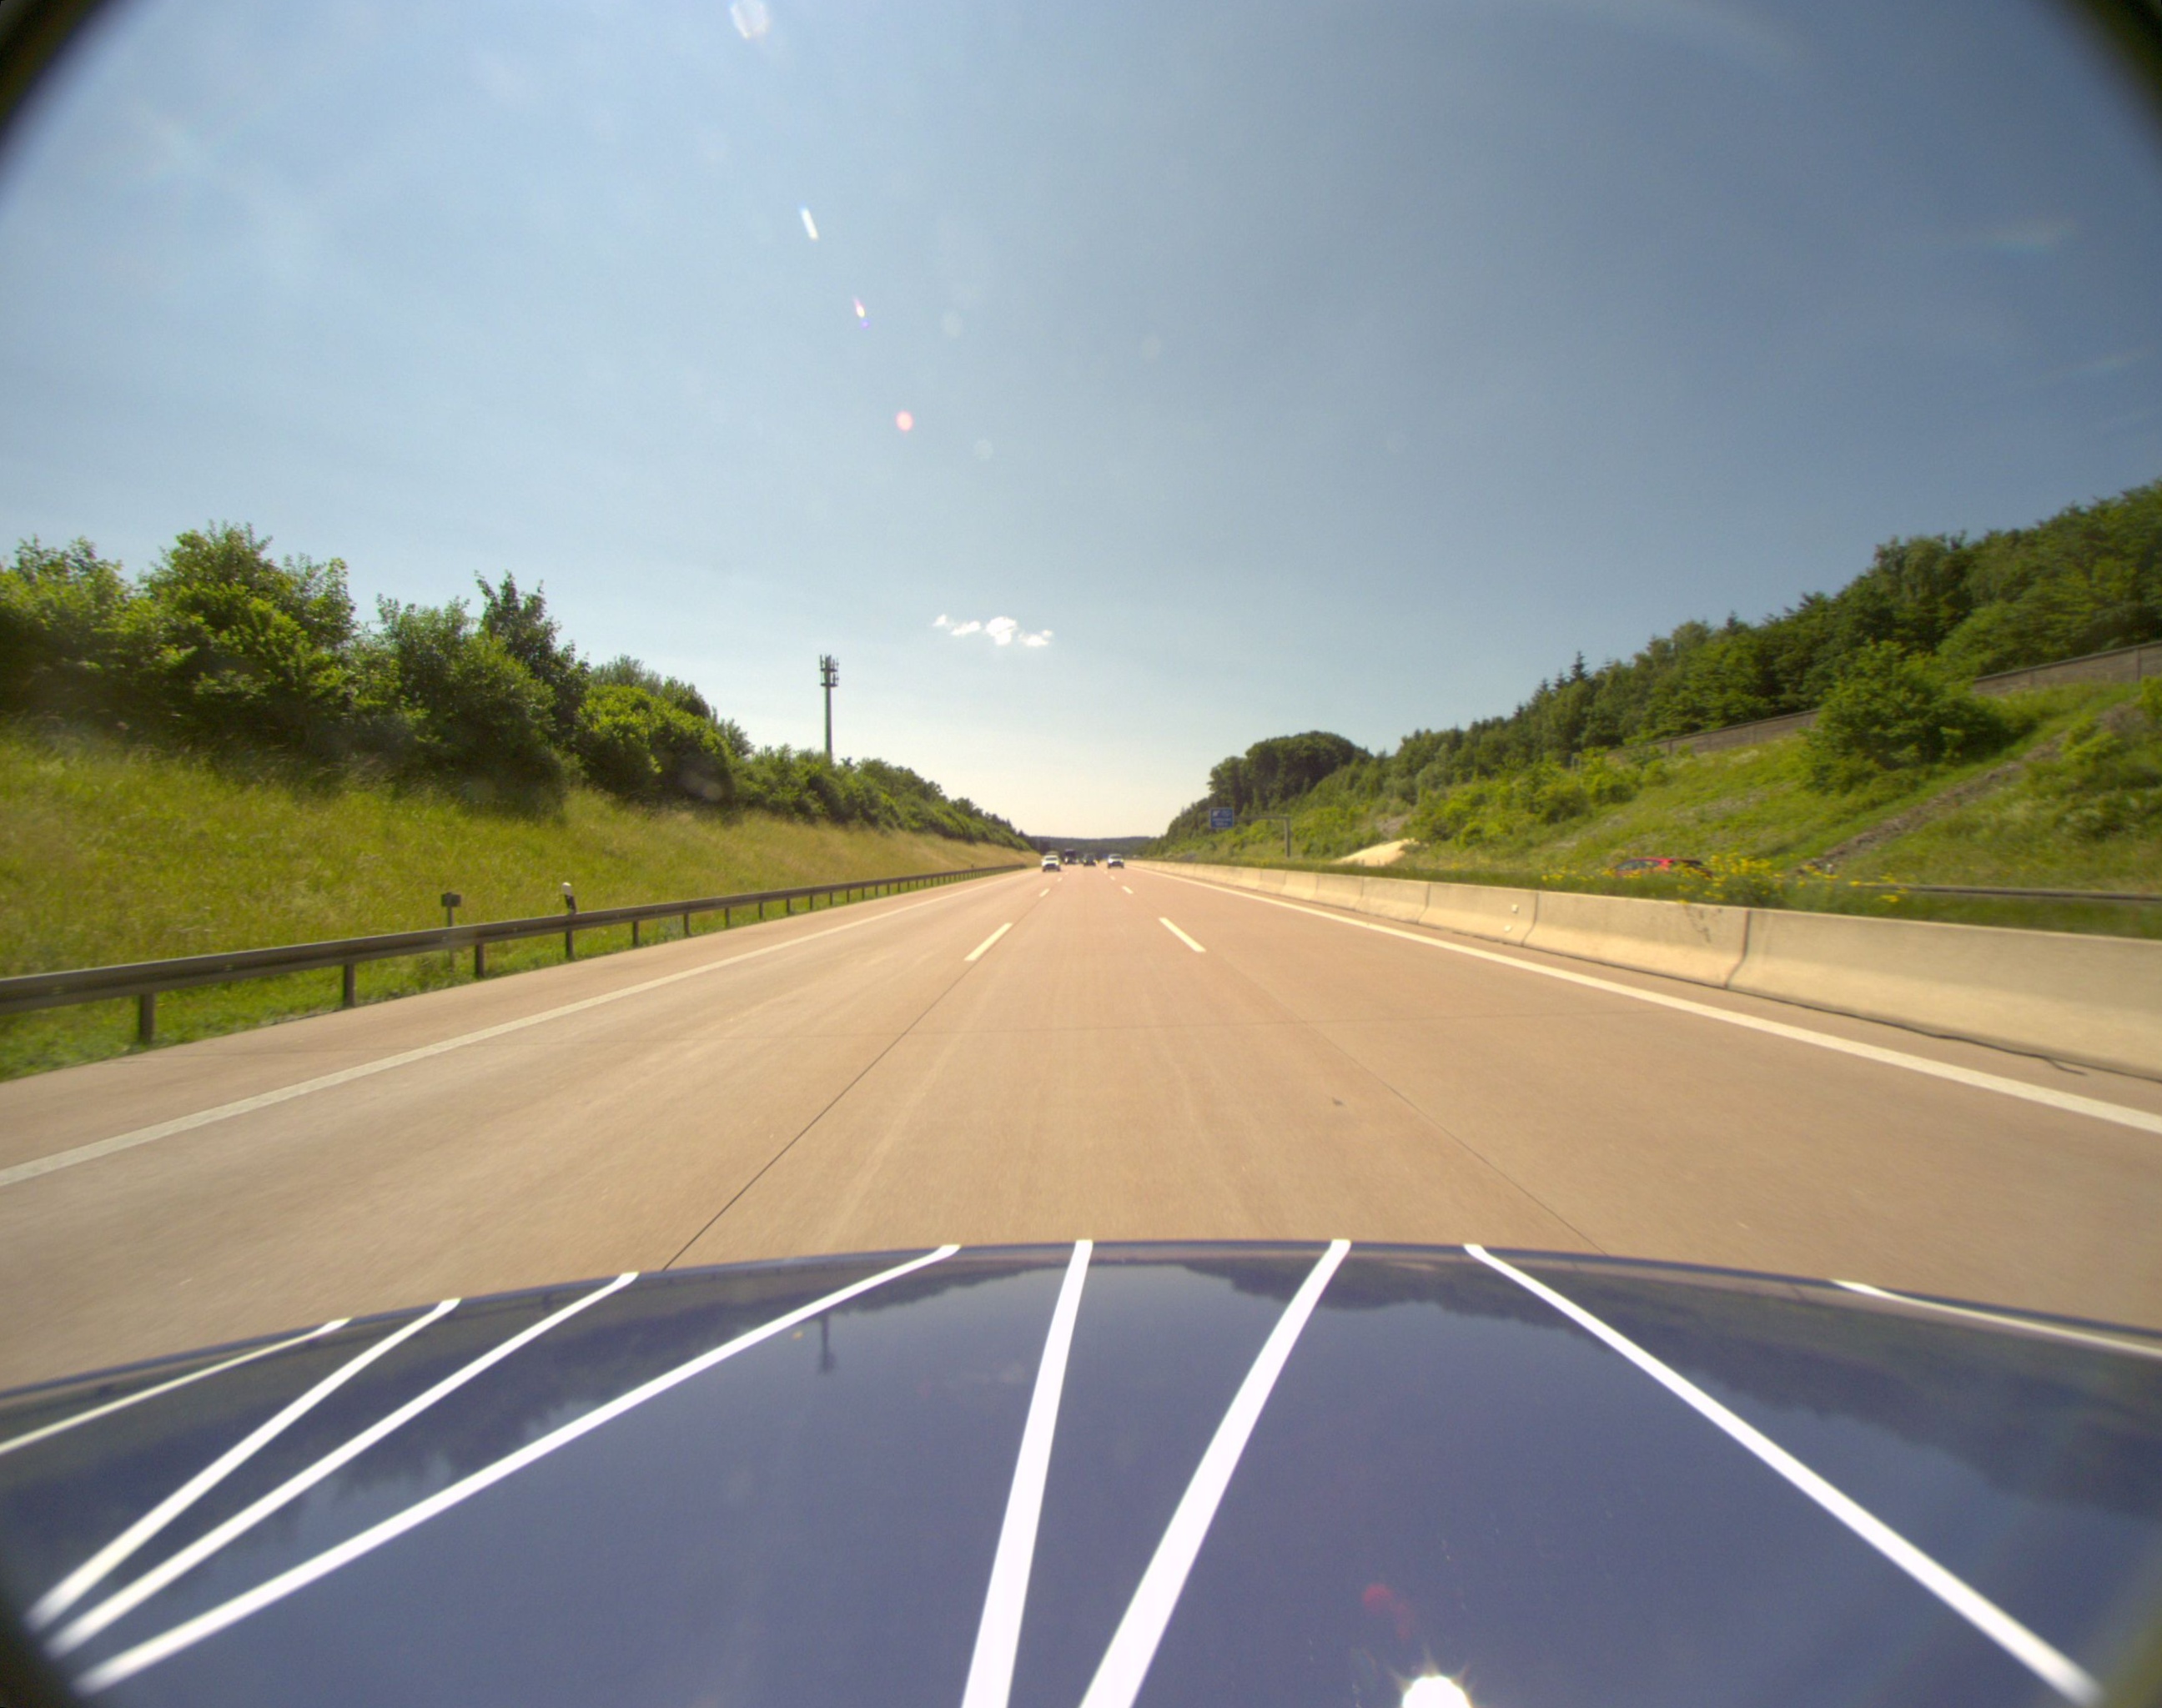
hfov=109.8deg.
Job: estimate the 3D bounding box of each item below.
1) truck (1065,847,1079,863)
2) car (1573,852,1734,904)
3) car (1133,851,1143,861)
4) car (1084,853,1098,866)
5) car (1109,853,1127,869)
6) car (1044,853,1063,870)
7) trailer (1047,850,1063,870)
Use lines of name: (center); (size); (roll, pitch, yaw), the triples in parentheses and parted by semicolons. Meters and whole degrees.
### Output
truck: (-1.837, 0.284, 158.637); (2.508, 3.199, 7.786); (-2, -1, 2)
car: (19.643, 0.738, 26.436); (1.895, 1.584, 4.977); (-2, 0, 1)
car: (18.472, 0.699, 246.263); (2.416, 2.952, 7.503); (-2, -1, 1)
car: (1.546, 0.845, 116.044); (1.998, 1.805, 4.564); (-3, 1, 3)
car: (4.335, 0.829, 89.618); (1.895, 1.718, 4.564); (-2, -1, 0)
car: (-2.935, 0.775, 81.647); (1.896, 1.718, 5.186); (-2, 0, -1)
trailer: (-2.965, 0.696, 86.157); (1.662, 2.151, 4.016); (-2, 0, -1)
